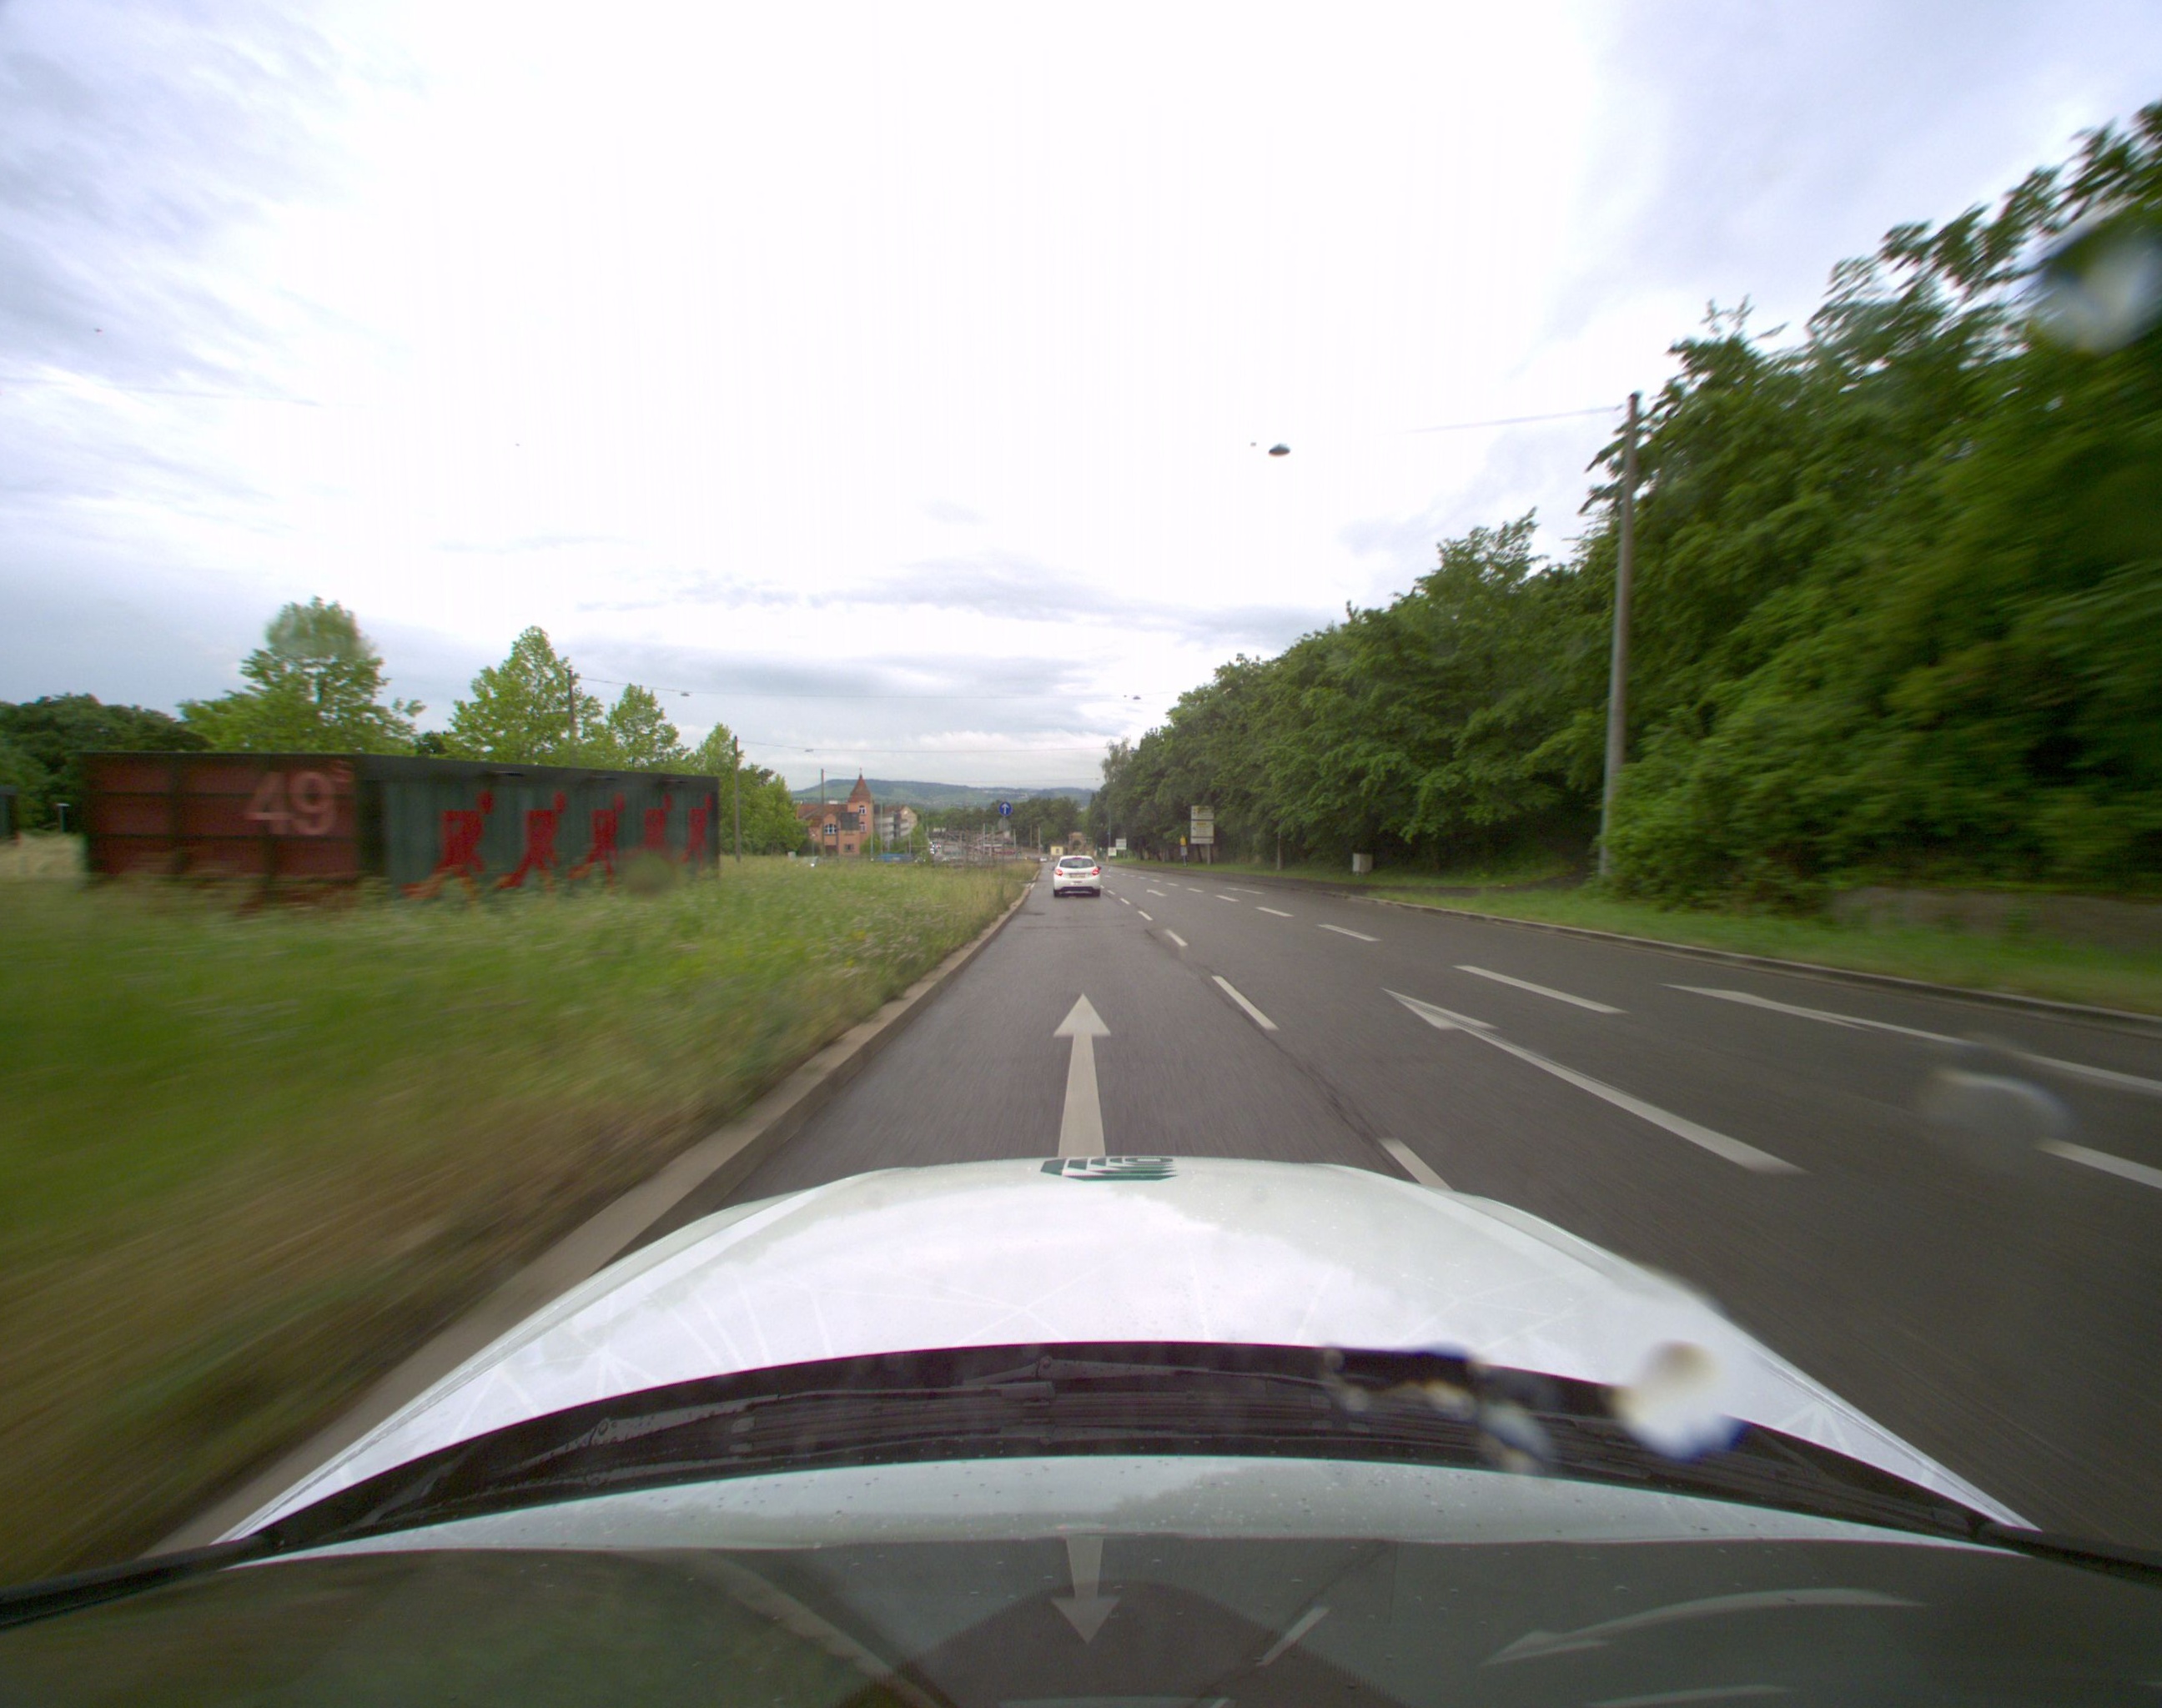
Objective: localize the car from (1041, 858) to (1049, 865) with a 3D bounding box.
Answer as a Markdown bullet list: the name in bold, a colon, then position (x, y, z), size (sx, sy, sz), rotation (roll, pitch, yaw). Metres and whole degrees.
- **car**: position (-9.619, 2.029, 217.183), size (1.817, 1.606, 3.998), rotation (-2, 0, -1)

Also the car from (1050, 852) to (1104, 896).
- **car**: position (-0.121, 0.690, 30.310), size (1.862, 1.511, 3.900), rotation (0, 0, 0)
